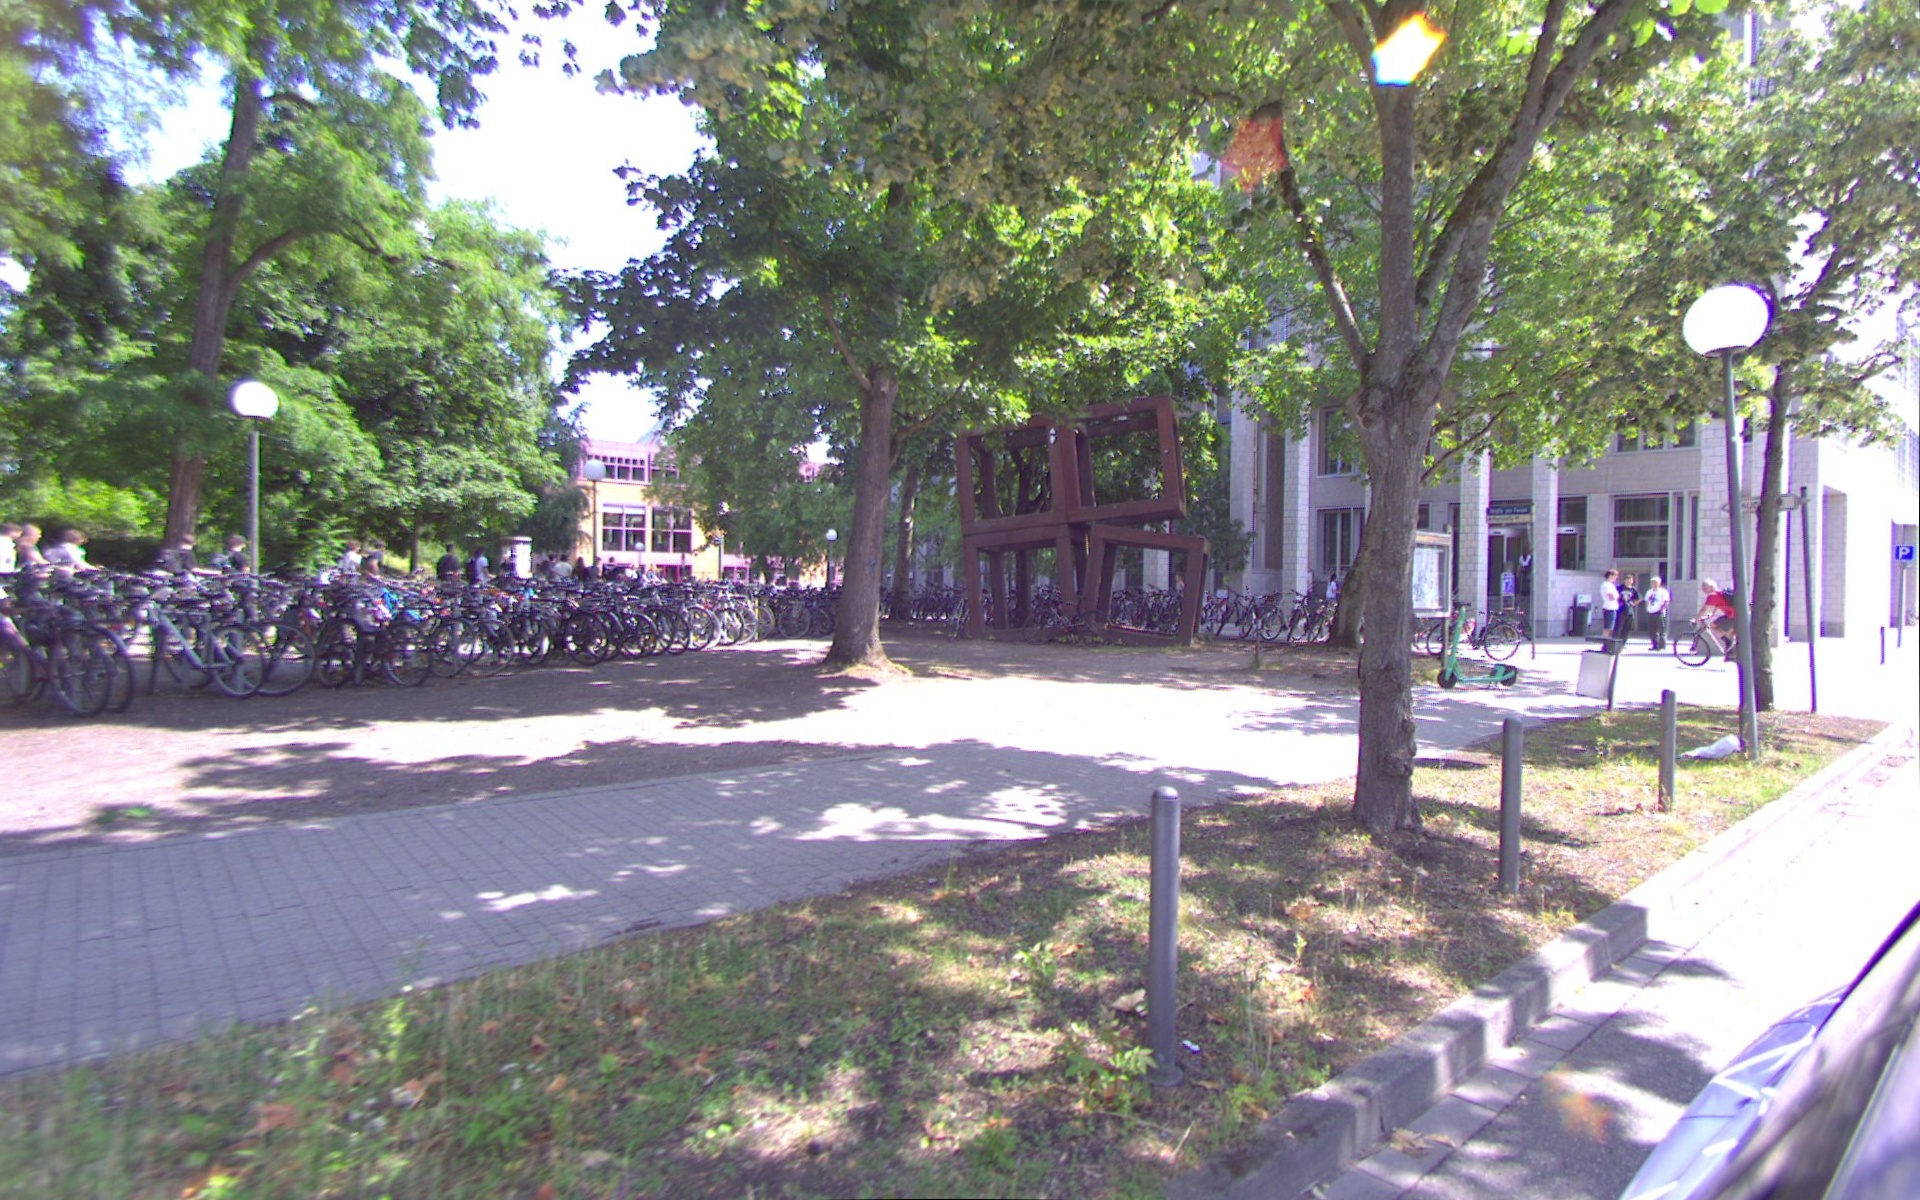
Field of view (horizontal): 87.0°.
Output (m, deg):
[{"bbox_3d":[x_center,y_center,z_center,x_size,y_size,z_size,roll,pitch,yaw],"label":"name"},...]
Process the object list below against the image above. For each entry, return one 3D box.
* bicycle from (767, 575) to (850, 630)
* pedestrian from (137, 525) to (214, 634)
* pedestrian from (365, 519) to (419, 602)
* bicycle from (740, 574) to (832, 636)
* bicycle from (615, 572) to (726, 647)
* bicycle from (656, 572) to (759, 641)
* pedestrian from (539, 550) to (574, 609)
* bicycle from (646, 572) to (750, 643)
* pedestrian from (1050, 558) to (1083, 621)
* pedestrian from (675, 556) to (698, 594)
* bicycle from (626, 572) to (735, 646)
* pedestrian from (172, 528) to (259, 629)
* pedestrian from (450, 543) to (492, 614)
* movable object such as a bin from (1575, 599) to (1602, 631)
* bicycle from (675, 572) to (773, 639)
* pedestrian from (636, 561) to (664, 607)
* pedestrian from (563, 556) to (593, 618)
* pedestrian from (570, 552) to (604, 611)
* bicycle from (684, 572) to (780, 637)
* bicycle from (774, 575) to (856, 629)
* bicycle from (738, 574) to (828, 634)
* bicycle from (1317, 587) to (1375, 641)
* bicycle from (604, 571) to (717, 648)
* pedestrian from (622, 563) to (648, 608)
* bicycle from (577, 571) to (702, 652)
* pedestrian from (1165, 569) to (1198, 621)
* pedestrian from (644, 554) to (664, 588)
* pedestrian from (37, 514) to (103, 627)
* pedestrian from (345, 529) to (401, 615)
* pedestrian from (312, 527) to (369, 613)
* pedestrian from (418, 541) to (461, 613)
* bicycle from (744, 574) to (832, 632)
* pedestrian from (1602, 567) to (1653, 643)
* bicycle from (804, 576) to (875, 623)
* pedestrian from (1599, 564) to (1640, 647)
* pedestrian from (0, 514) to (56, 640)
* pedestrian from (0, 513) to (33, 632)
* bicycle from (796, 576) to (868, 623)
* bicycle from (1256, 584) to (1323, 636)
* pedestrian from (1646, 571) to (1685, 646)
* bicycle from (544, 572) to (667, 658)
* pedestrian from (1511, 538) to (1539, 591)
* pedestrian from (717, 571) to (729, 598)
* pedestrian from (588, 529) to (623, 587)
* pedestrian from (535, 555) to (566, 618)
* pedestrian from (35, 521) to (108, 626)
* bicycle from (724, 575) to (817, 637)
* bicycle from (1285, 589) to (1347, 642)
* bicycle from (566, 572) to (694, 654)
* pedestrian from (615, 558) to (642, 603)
[{"bbox_3d":[-3.435,0.045,22.939,1.816,1.185,0.412,1,1,11],"label":"bicycle"},{"bbox_3d":[-13.266,-0.351,17.124,0.735,1.797,0.717,2,0,18],"label":"pedestrian"},{"bbox_3d":[-12.642,-0.876,22.537,0.735,1.797,0.717,2,0,18],"label":"pedestrian"},{"bbox_3d":[-3.516,0.098,20.458,1.817,1.185,0.387,2,1,13],"label":"bicycle"},{"bbox_3d":[-4.805,0.148,16.812,1.817,1.185,0.344,2,1,13],"label":"bicycle"},{"bbox_3d":[-4.552,0.107,18.225,1.817,1.185,0.352,2,1,13],"label":"bicycle"},{"bbox_3d":[-12.606,-0.631,31.656,0.824,1.797,0.994,1,0,-11],"label":"pedestrian"},{"bbox_3d":[-4.625,0.119,17.859,1.817,1.185,0.352,2,1,13],"label":"bicycle"},{"bbox_3d":[2.967,-0.292,28.197,0.427,1.725,0.929,-1,-1,44],"label":"pedestrian"},{"bbox_3d":[-11.897,-1.091,44.024,0.730,1.589,0.721,1,0,-33],"label":"pedestrian"},{"bbox_3d":[-4.733,0.136,17.141,1.817,1.185,0.344,2,1,13],"label":"bicycle"},{"bbox_3d":[-13.749,-0.401,18.702,0.954,1.797,0.963,2,0,27],"label":"pedestrian"},{"bbox_3d":[-12.599,-0.551,26.105,0.730,1.797,0.721,1,0,-3],"label":"pedestrian"},{"bbox_3d":[19.454,0.463,31.325,0.503,0.961,0.513,1,3,-43],"label":"movable object such as a bin"},{"bbox_3d":[-4.433,0.095,19.008,1.817,1.185,0.352,2,1,13],"label":"bicycle"},{"bbox_3d":[-11.123,-0.579,36.315,0.731,1.589,0.721,1,0,1],"label":"pedestrian"},{"bbox_3d":[-11.289,-0.386,29.900,0.729,1.797,0.722,1,0,-15],"label":"pedestrian"},{"bbox_3d":[-11.725,-0.589,31.865,0.824,1.797,0.994,1,0,-11],"label":"pedestrian"},{"bbox_3d":[-4.361,0.083,19.357,1.817,1.185,0.352,2,1,13],"label":"bicycle"},{"bbox_3d":[-3.355,0.037,23.428,1.816,1.185,0.412,1,1,11],"label":"bicycle"},{"bbox_3d":[-3.666,0.066,20.958,1.816,1.185,0.387,1,1,11],"label":"bicycle"},{"bbox_3d":[8.248,0.298,21.625,1.447,1.099,0.460,2,1,-40],"label":"bicycle"},{"bbox_3d":[-4.878,0.141,16.474,1.817,1.185,0.344,2,1,13],"label":"bicycle"},{"bbox_3d":[-13.182,-0.593,41.057,0.732,1.812,0.720,2,0,5],"label":"pedestrian"},{"bbox_3d":[-4.944,0.170,15.626,1.811,1.185,0.345,1,1,2],"label":"bicycle"},{"bbox_3d":[7.610,-0.184,34.791,0.930,1.762,0.741,1,1,30],"label":"pedestrian"},{"bbox_3d":[-14.618,-1.403,48.373,0.730,1.589,0.721,1,0,-33],"label":"pedestrian"},{"bbox_3d":[-14.686,-0.481,16.694,0.742,1.797,0.710,2,0,41],"label":"pedestrian"},{"bbox_3d":[-12.569,-0.595,21.677,0.732,1.797,0.719,2,0,9],"label":"pedestrian"},{"bbox_3d":[-13.345,-0.645,21.801,0.732,1.797,0.719,2,0,9],"label":"pedestrian"},{"bbox_3d":[-13.410,-0.593,26.079,0.730,1.797,0.721,1,0,-3],"label":"pedestrian"},{"bbox_3d":[-3.672,0.060,21.585,1.816,1.185,0.412,1,1,11],"label":"bicycle"},{"bbox_3d":[16.147,0.112,24.509,0.796,1.819,0.619,1,1,6],"label":"pedestrian"},{"bbox_3d":[-3.196,-0.011,26.818,1.812,1.185,0.345,1,1,5],"label":"bicycle"},{"bbox_3d":[15.448,0.116,23.705,0.675,1.914,0.685,-1,1,-44],"label":"pedestrian"},{"bbox_3d":[-13.895,-0.338,14.942,0.742,1.797,0.710,2,0,41],"label":"pedestrian"},{"bbox_3d":[-14.749,-0.423,15.447,0.739,1.797,0.712,2,0,33],"label":"pedestrian"},{"bbox_3d":[-3.355,-0.018,26.481,1.812,1.185,0.345,1,1,5],"label":"bicycle"},{"bbox_3d":[7.320,0.230,22.475,1.664,1.099,0.482,2,1,-36],"label":"bicycle"},{"bbox_3d":[16.726,0.189,24.004,0.533,1.751,0.613,0,1,-40],"label":"pedestrian"},{"bbox_3d":[-5.184,0.197,14.778,1.819,1.185,0.344,2,1,16],"label":"bicycle"},{"bbox_3d":[18.794,-1.180,33.650,0.686,1.756,0.676,1,1,39],"label":"pedestrian"},{"bbox_3d":[-10.918,-0.694,46.627,0.379,1.228,0.403,1,0,-33],"label":"pedestrian"},{"bbox_3d":[-11.157,-1.309,31.877,0.837,1.797,0.813,1,0,-8],"label":"pedestrian"},{"bbox_3d":[-12.012,-0.404,29.690,0.729,1.797,0.722,1,0,-15],"label":"pedestrian"},{"bbox_3d":[-15.610,-0.474,17.787,0.737,1.797,0.715,2,0,24],"label":"pedestrian"},{"bbox_3d":[-3.767,0.109,20.123,1.817,1.185,0.352,2,1,13],"label":"bicycle"},{"bbox_3d":[7.844,0.345,22.287,1.486,1.099,0.482,2,1,-36],"label":"bicycle"},{"bbox_3d":[-4.967,0.187,15.252,1.811,1.185,0.345,1,1,2],"label":"bicycle"},{"bbox_3d":[-11.922,-0.704,36.385,0.730,1.589,0.721,1,0,-4],"label":"pedestrian"}]
